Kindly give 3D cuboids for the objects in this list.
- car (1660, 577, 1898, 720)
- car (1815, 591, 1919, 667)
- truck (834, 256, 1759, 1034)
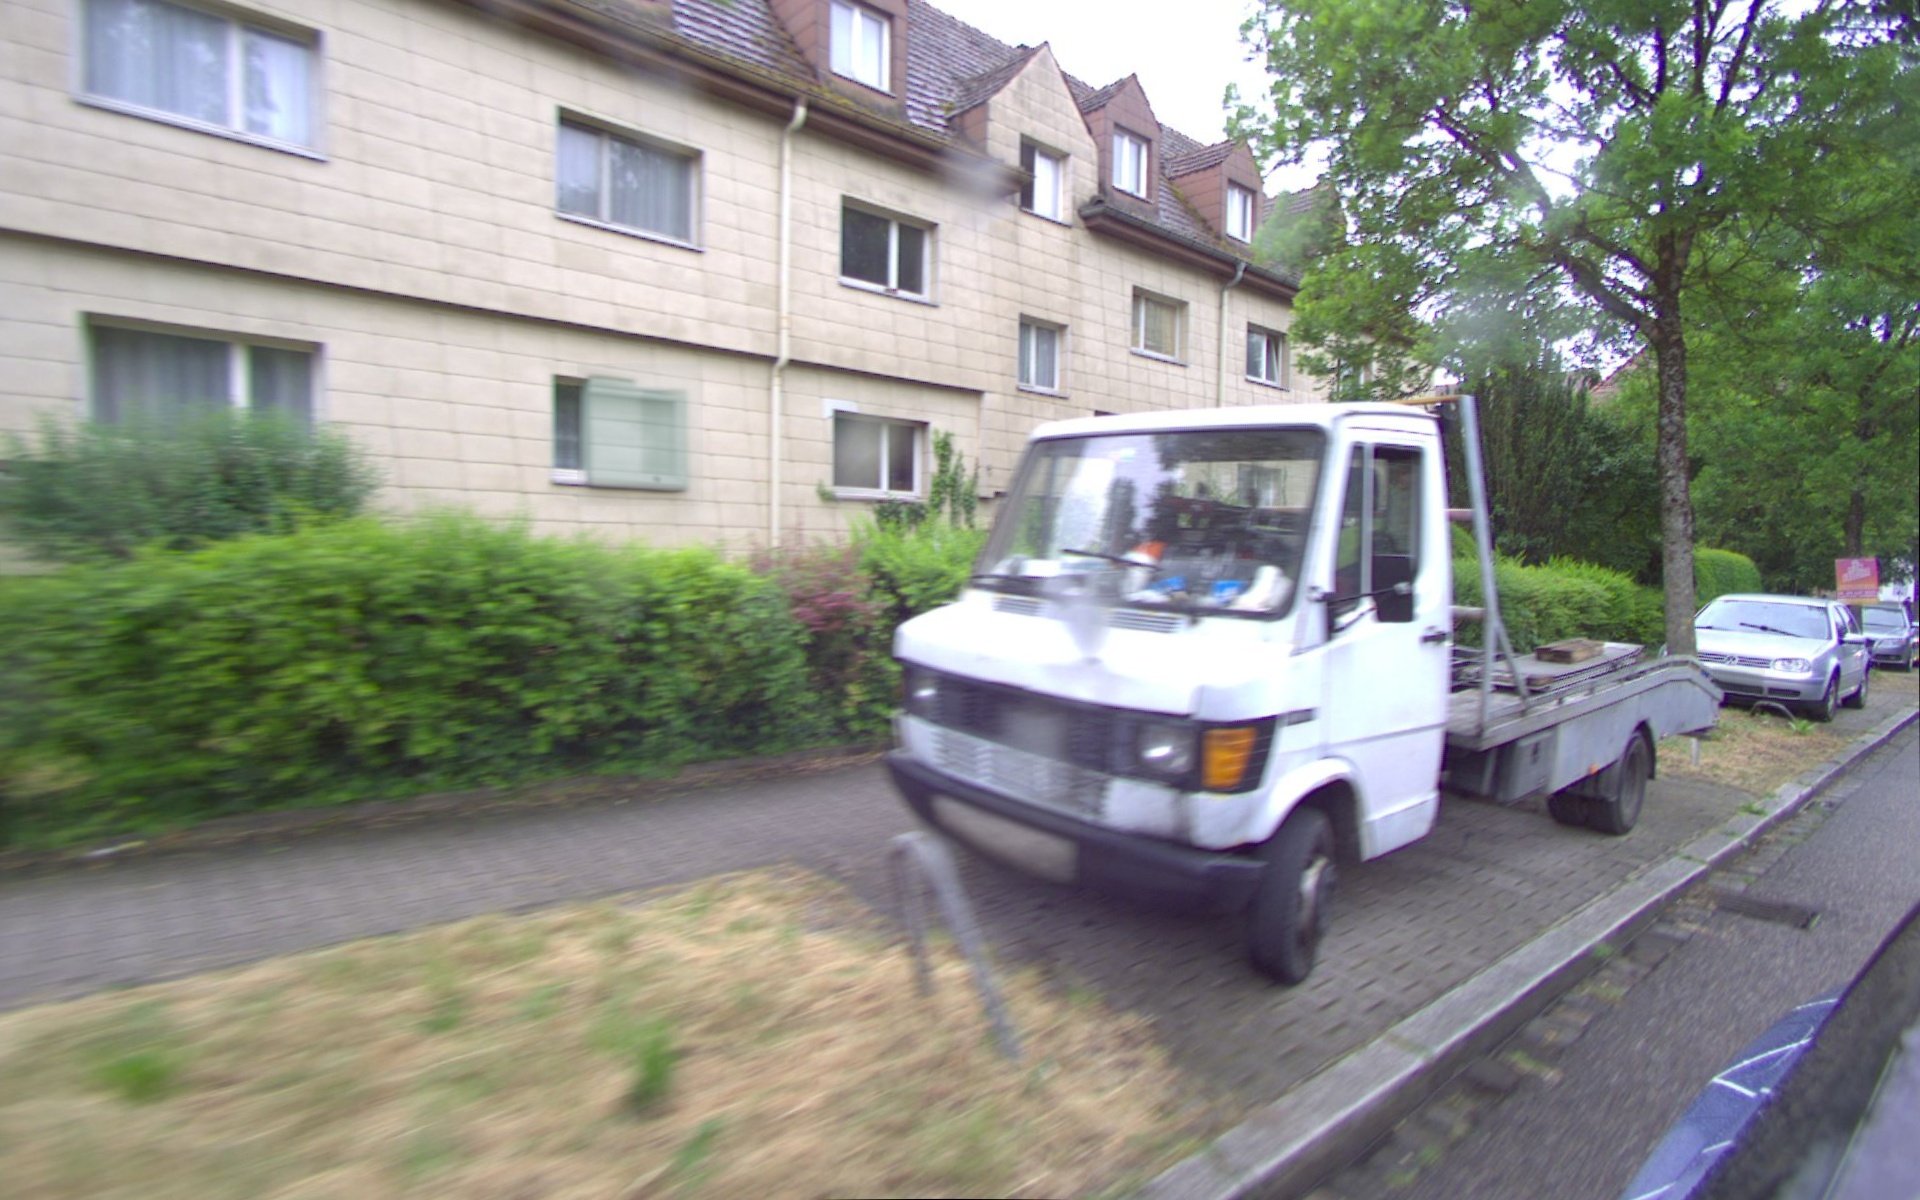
[{"bbox_3d":[10.596,0.555,12.996,3.950,1.453,1.606,2,4,-41],"label":"car"},{"bbox_3d":[20.350,0.589,22.277,4.422,1.406,1.691,0,4,-42],"label":"car"},{"bbox_3d":[2.544,0.064,5.844,6.390,2.248,2.084,0,5,-42],"label":"truck"}]
